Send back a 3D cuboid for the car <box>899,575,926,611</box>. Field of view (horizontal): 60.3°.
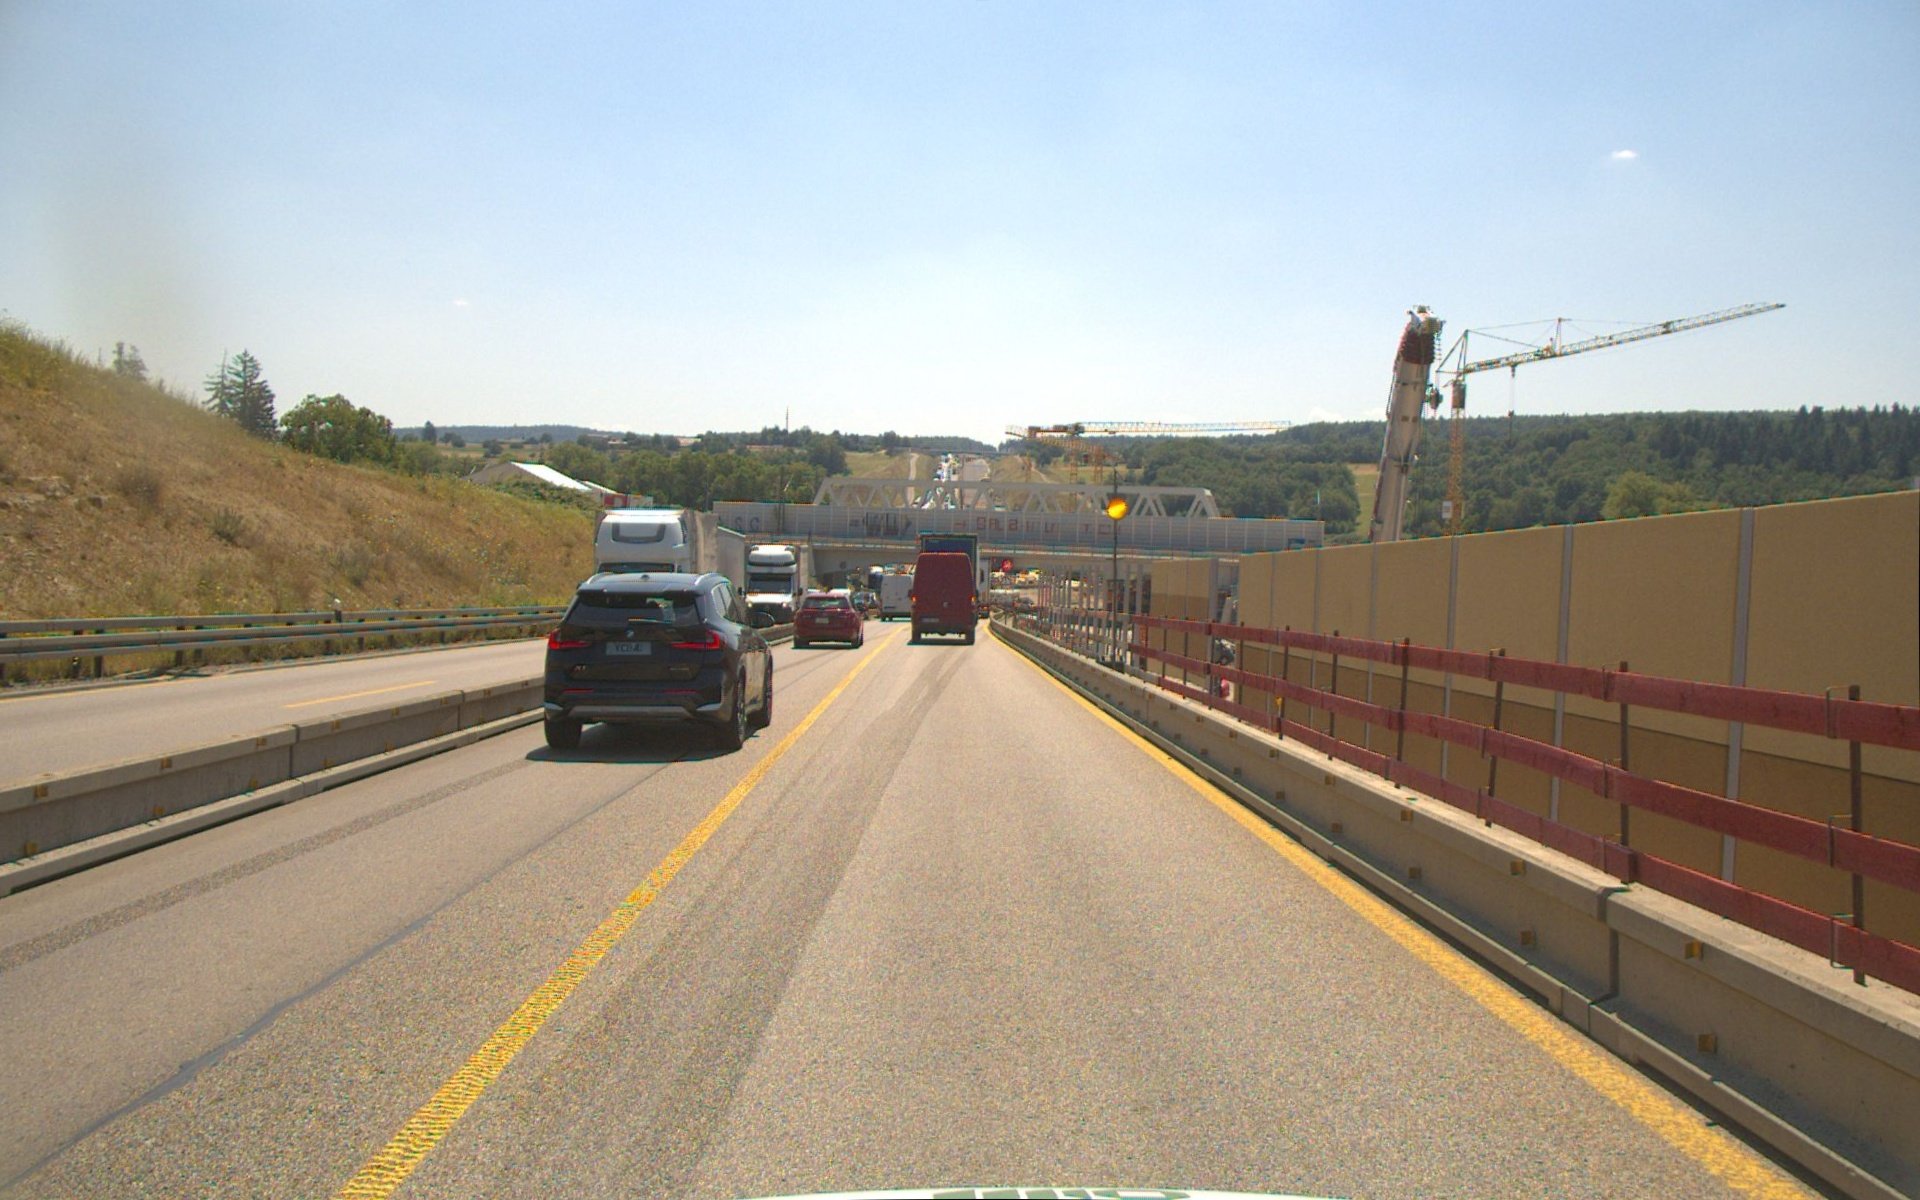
[{"bbox_3d":[-3.218,-0.487,112.315,1.740,2.370,4.205,0,0,-1],"label":"car"}]

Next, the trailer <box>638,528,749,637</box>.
[{"bbox_3d":[-10.980,-0.697,69.565,2.643,4.095,13.699,1,0,-1],"label":"trailer"}]

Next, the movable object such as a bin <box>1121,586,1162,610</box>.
[{"bbox_3d":[22.514,-0.256,205.183,5.038,2.856,2.144,1,0,5],"label":"movable object such as a bin"}]

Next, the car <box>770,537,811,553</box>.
[{"bbox_3d":[-20.347,-6.639,198.633,4.456,1.814,1.962,1,0,13],"label":"car"}]

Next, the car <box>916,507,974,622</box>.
[{"bbox_3d":[-0.735,-1.615,78.671,2.568,5.120,10.395,0,0,-1],"label":"car"}]

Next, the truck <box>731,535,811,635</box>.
[{"bbox_3d":[-7.635,-0.614,67.575,2.537,3.824,7.357,1,0,-1],"label":"truck"}]

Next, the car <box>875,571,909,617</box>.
[{"bbox_3d":[-3.772,-0.340,92.373,1.740,2.484,4.205,0,0,-1],"label":"car"}]

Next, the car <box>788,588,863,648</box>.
[{"bbox_3d":[-3.607,0.453,45.056,1.740,1.544,4.205,0,0,-1],"label":"car"}]

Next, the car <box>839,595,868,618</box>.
[{"bbox_3d":[-7.831,0.442,122.020,1.754,1.639,4.733,1,0,0],"label":"car"}]

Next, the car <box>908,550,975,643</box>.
[{"bbox_3d":[-0.588,-0.121,50.843,1.948,2.737,4.623,0,0,-1],"label":"car"}]

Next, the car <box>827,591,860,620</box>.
[{"bbox_3d":[-7.811,0.348,111.184,1.994,1.855,4.959,1,0,-1],"label":"car"}]

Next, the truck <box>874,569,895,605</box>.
[{"bbox_3d":[-8.596,-1.519,189.768,2.310,4.085,3.998,1,0,-2],"label":"truck"}]

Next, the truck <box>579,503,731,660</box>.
[{"bbox_3d":[-7.239,-0.440,40.148,2.487,3.433,7.036,1,0,-1],"label":"truck"}]

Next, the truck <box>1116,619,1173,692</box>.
[{"bbox_3d":[10.751,3.185,96.740,2.702,3.954,5.882,1,0,1],"label":"truck"}]

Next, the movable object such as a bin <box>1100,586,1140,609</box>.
[{"bbox_3d":[20.546,-0.311,212.379,5.038,2.856,2.144,1,0,5],"label":"movable object such as a bin"}]

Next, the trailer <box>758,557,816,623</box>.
[{"bbox_3d":[-10.788,-0.619,104.318,2.537,3.868,11.915,1,0,-1],"label":"trailer"}]

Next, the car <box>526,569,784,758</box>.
[{"bbox_3d":[-2.904,0.540,16.716,1.841,1.646,4.498,0,0,-1],"label":"car"}]
